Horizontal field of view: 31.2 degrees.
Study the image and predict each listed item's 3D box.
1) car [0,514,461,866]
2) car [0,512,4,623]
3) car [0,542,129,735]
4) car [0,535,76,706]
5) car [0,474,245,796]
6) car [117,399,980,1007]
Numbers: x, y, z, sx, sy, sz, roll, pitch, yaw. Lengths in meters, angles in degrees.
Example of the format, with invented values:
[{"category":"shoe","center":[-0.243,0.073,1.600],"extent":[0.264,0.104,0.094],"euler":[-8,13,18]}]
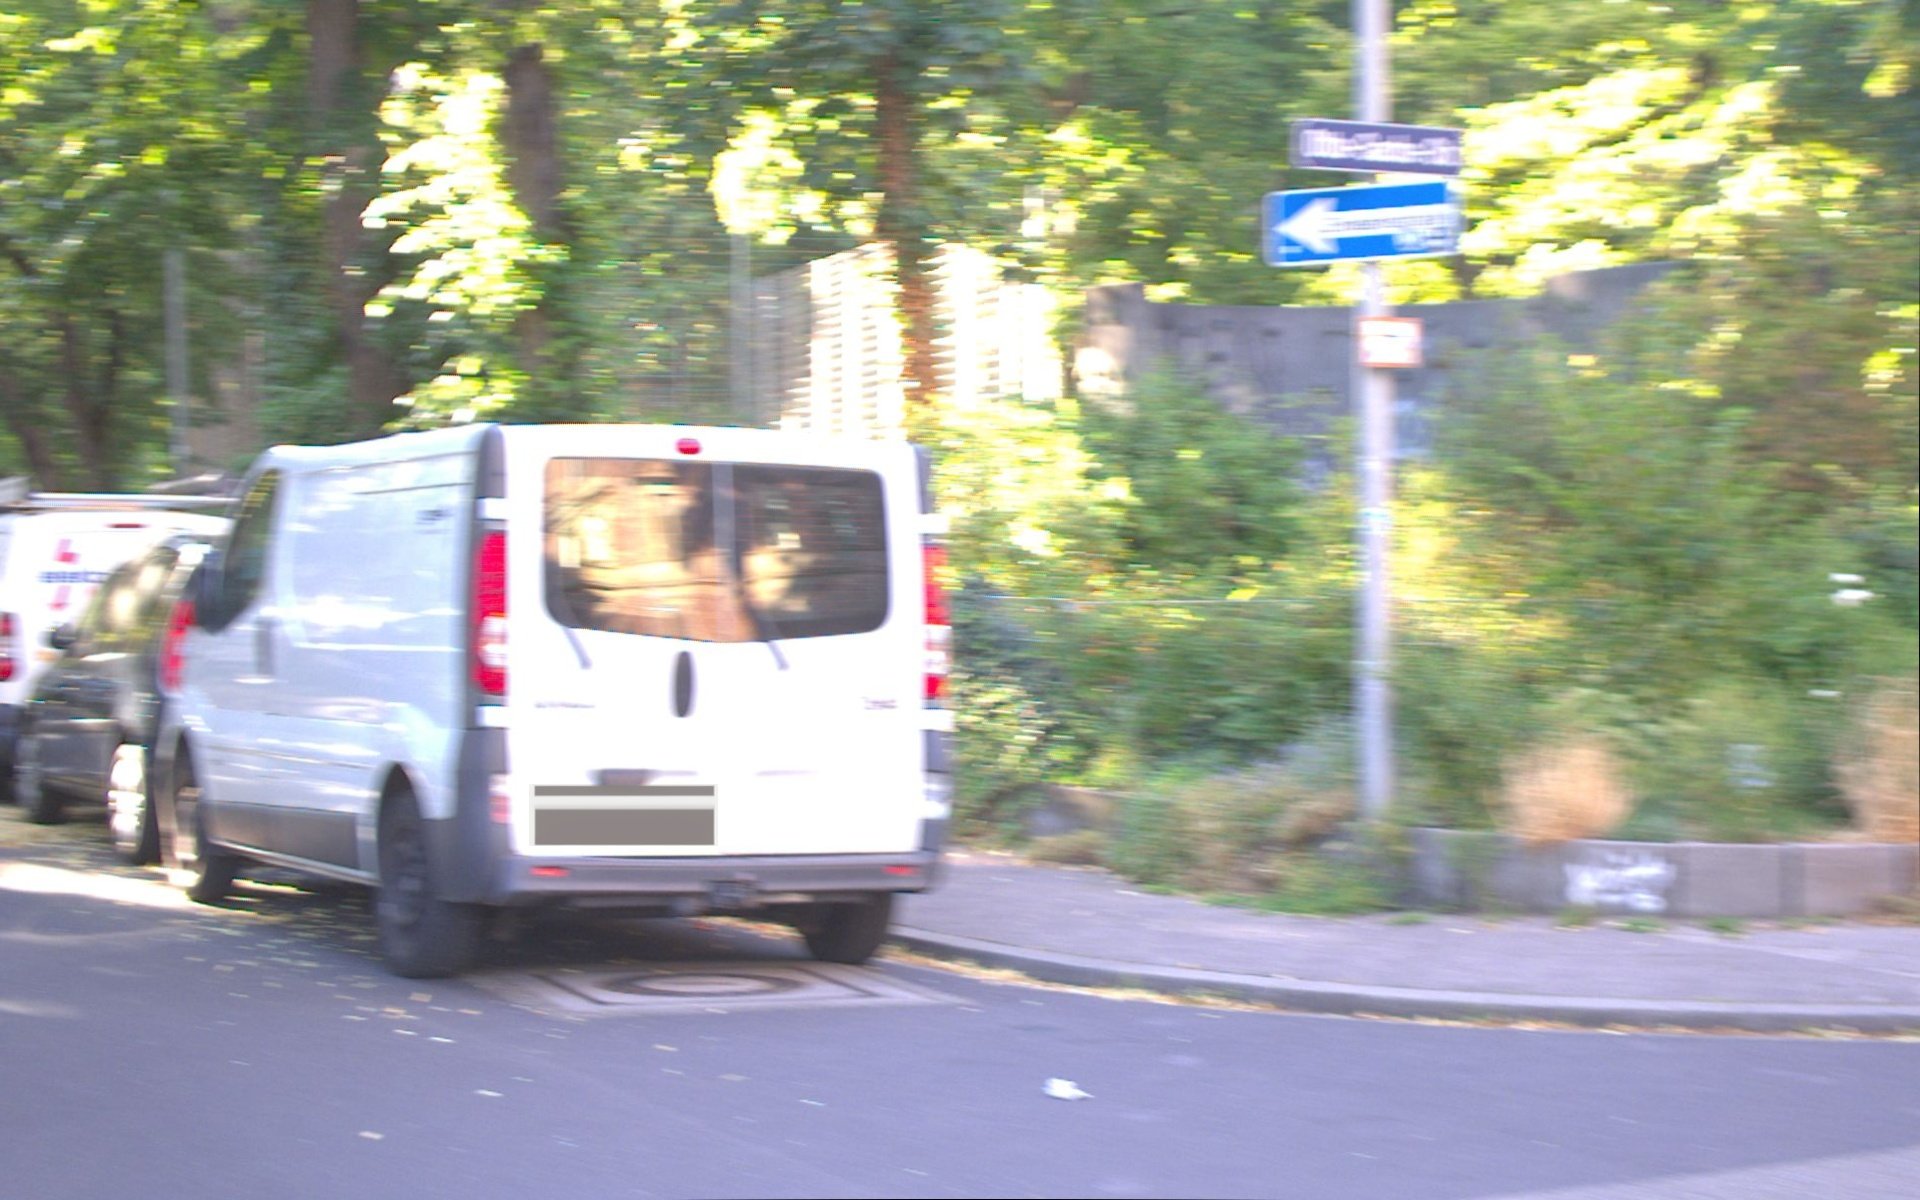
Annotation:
[{"category":"car","center":[-3.936,0.371,18.062],"extent":[1.571,1.632,3.713],"euler":[-1,2,-25]},{"category":"car","center":[-15.452,-0.523,52.514],"extent":[1.571,1.642,3.602],"euler":[-1,2,-16]},{"category":"car","center":[-7.519,0.254,26.974],"extent":[1.571,1.381,3.602],"euler":[-1,2,-19]},{"category":"car","center":[-9.174,0.150,31.527],"extent":[1.571,1.462,3.601],"euler":[-1,2,-22]},{"category":"car","center":[-5.805,0.152,22.339],"extent":[1.571,1.897,3.903],"euler":[-1,2,-22]},{"category":"car","center":[-1.852,0.271,13.778],"extent":[1.944,1.996,4.660],"euler":[-1,2,-27]}]
